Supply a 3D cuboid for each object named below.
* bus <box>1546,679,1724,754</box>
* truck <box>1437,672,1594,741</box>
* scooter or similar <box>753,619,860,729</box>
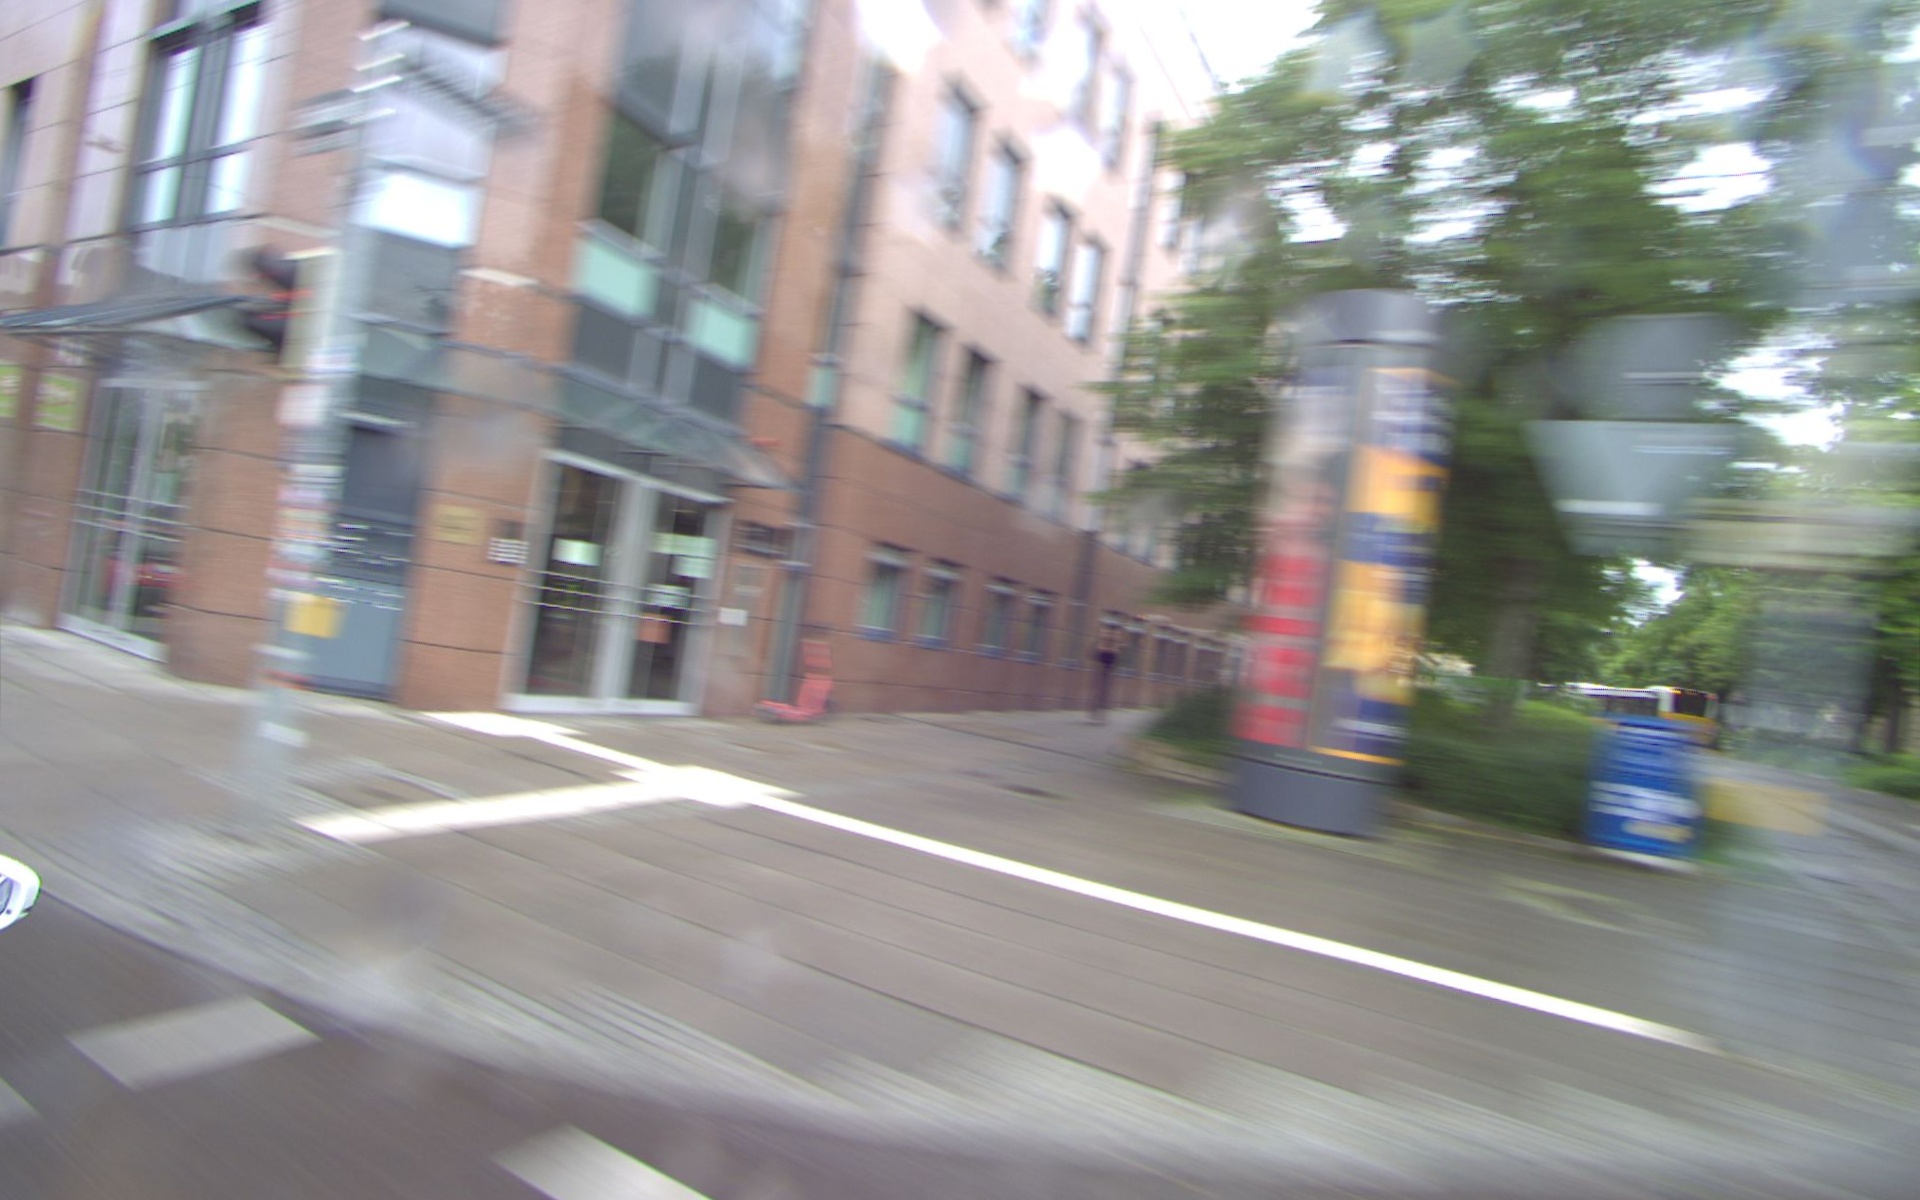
[{"bbox_3d":[37.333,6.323,56.330,2.801,3.052,10.513,7,-2,2],"label":"bus"},{"bbox_3d":[25.445,4.852,46.311,5.981,2.304,2.263,6,-1,30],"label":"truck"},{"bbox_3d":[-1.843,0.924,12.262,0.320,1.241,1.376,6,-2,33],"label":"scooter or similar"}]
